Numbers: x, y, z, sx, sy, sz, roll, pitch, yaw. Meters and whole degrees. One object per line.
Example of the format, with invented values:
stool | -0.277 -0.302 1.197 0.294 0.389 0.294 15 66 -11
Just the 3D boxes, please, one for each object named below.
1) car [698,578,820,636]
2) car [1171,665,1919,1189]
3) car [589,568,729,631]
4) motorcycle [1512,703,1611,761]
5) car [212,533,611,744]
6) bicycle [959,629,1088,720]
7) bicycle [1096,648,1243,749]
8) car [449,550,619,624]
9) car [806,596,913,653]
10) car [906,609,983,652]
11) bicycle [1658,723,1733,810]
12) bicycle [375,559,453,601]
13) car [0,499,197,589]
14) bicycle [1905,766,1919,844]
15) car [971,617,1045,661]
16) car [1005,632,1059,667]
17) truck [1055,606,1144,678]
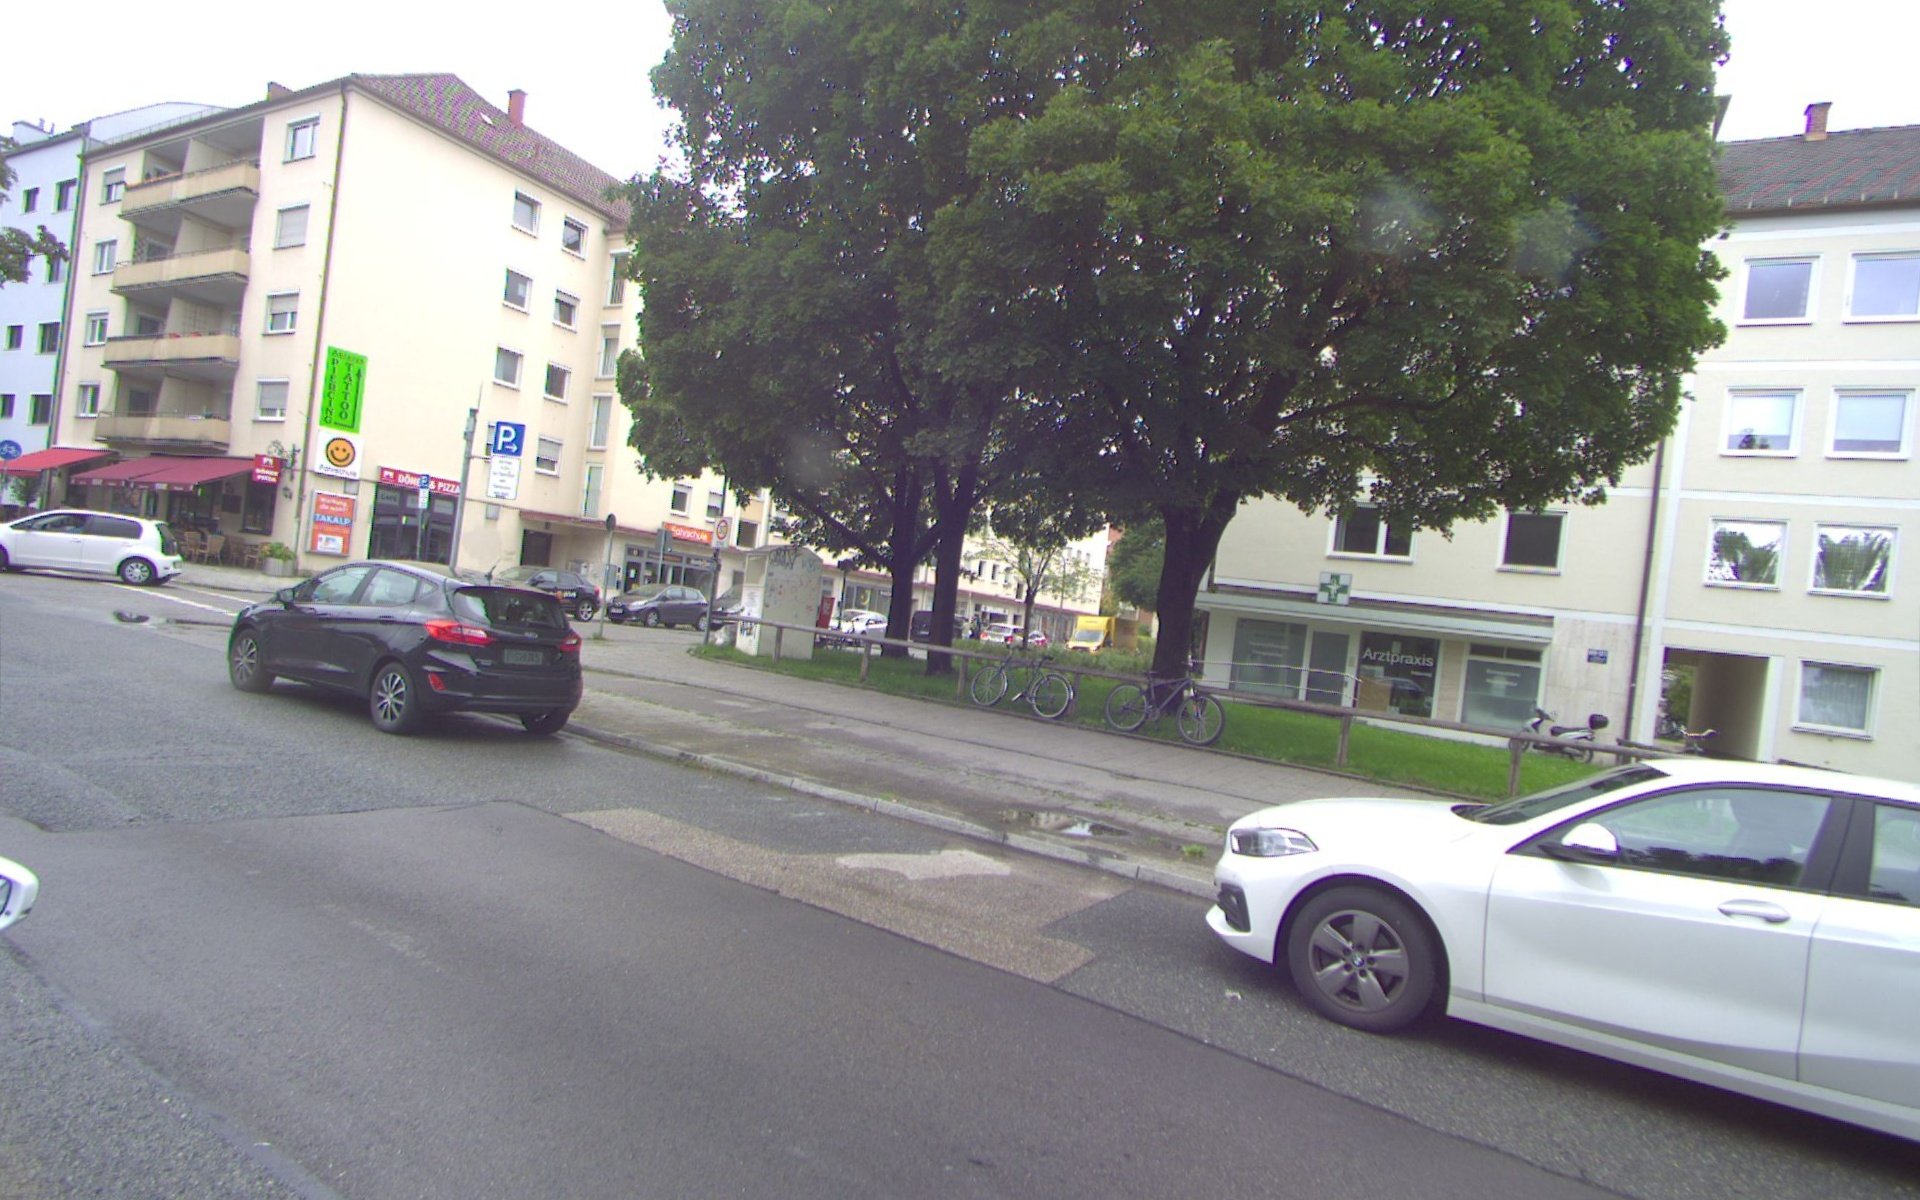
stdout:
car | -7.701 0.315 39.018 1.840 1.794 4.743 7 0 29
car | 3.285 1.368 4.638 4.067 1.481 1.687 7 -3 30
car | -10.091 0.028 34.054 1.839 1.681 4.402 7 0 28
motorcycle | 14.149 3.087 23.695 1.875 1.035 0.605 7 -1 32
car | -5.332 0.337 9.699 3.612 1.482 1.621 7 -3 31
bicycle | 0.929 1.096 15.015 1.823 1.118 0.390 7 -1 32
bicycle | 2.864 1.335 13.856 1.852 1.116 0.382 7 -1 32
car | -12.521 -0.327 29.866 1.838 1.681 4.403 7 0 26
car | -3.950 1.029 40.361 1.839 1.679 4.741 7 -3 27
car | -0.749 1.630 52.324 1.839 1.679 4.751 7 -3 27
bicycle | 9.466 2.112 12.998 0.548 0.950 1.881 7 -2 32
bicycle | -15.604 -0.554 28.792 0.548 0.968 1.852 7 -2 30
car | -18.705 -1.205 21.399 3.518 1.434 1.859 8 0 -27
bicycle | 12.519 2.657 12.691 0.425 0.985 1.881 7 -2 32
car | 2.465 1.989 50.342 1.839 1.680 4.404 8 -1 28
car | 4.548 3.116 63.016 1.839 1.679 4.089 7 -3 27
truck | 7.784 2.395 55.186 2.318 3.282 7.427 7 -2 26
